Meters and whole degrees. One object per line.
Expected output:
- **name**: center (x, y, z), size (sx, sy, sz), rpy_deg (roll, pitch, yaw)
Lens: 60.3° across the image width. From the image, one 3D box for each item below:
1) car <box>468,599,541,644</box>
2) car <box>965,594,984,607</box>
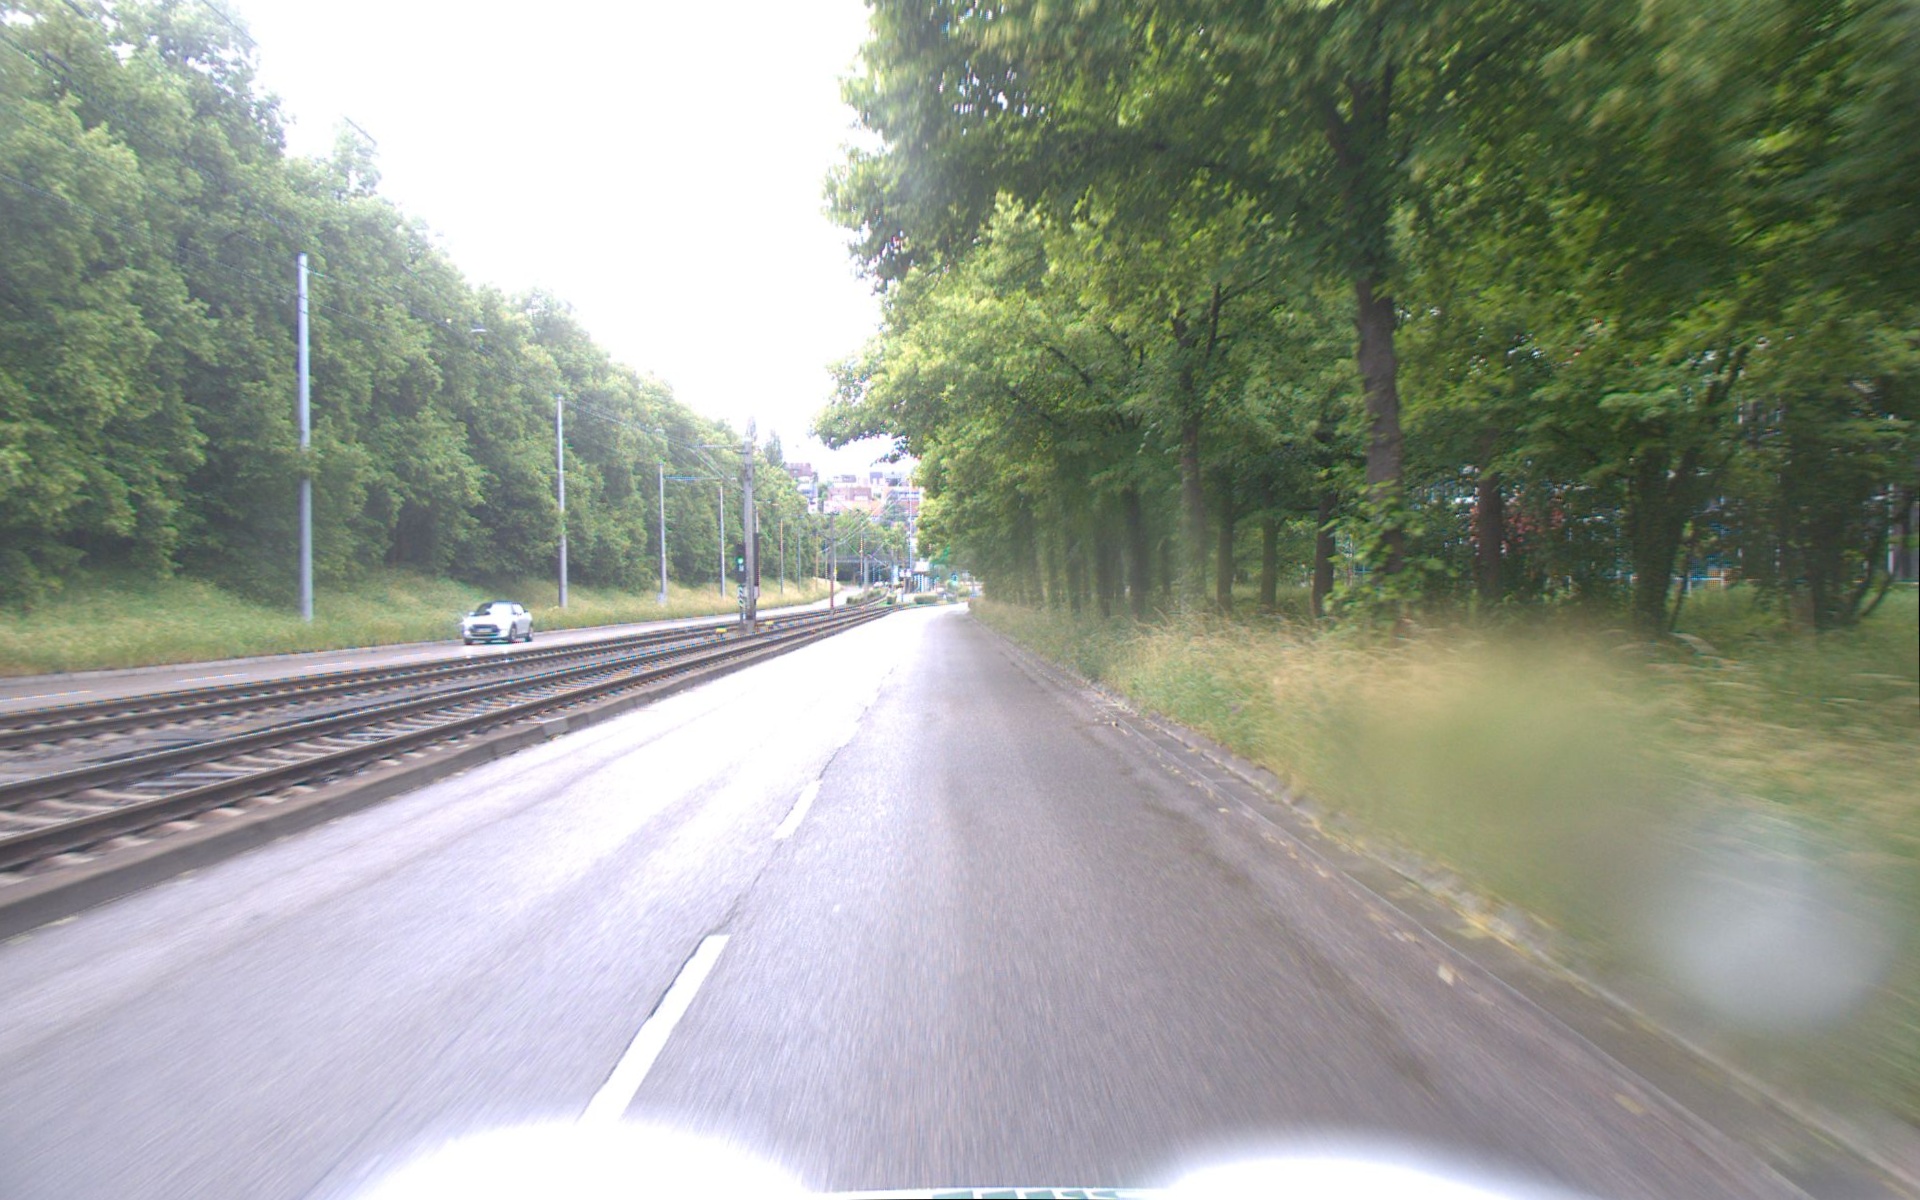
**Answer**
- **car**: center (-15.858, 0.721, 57.712), size (1.446, 1.461, 3.909), rpy_deg (-2, 0, 0)
- **car**: center (1.653, 0.043, 192.661), size (2.149, 1.352, 4.000), rpy_deg (0, 1, -1)
